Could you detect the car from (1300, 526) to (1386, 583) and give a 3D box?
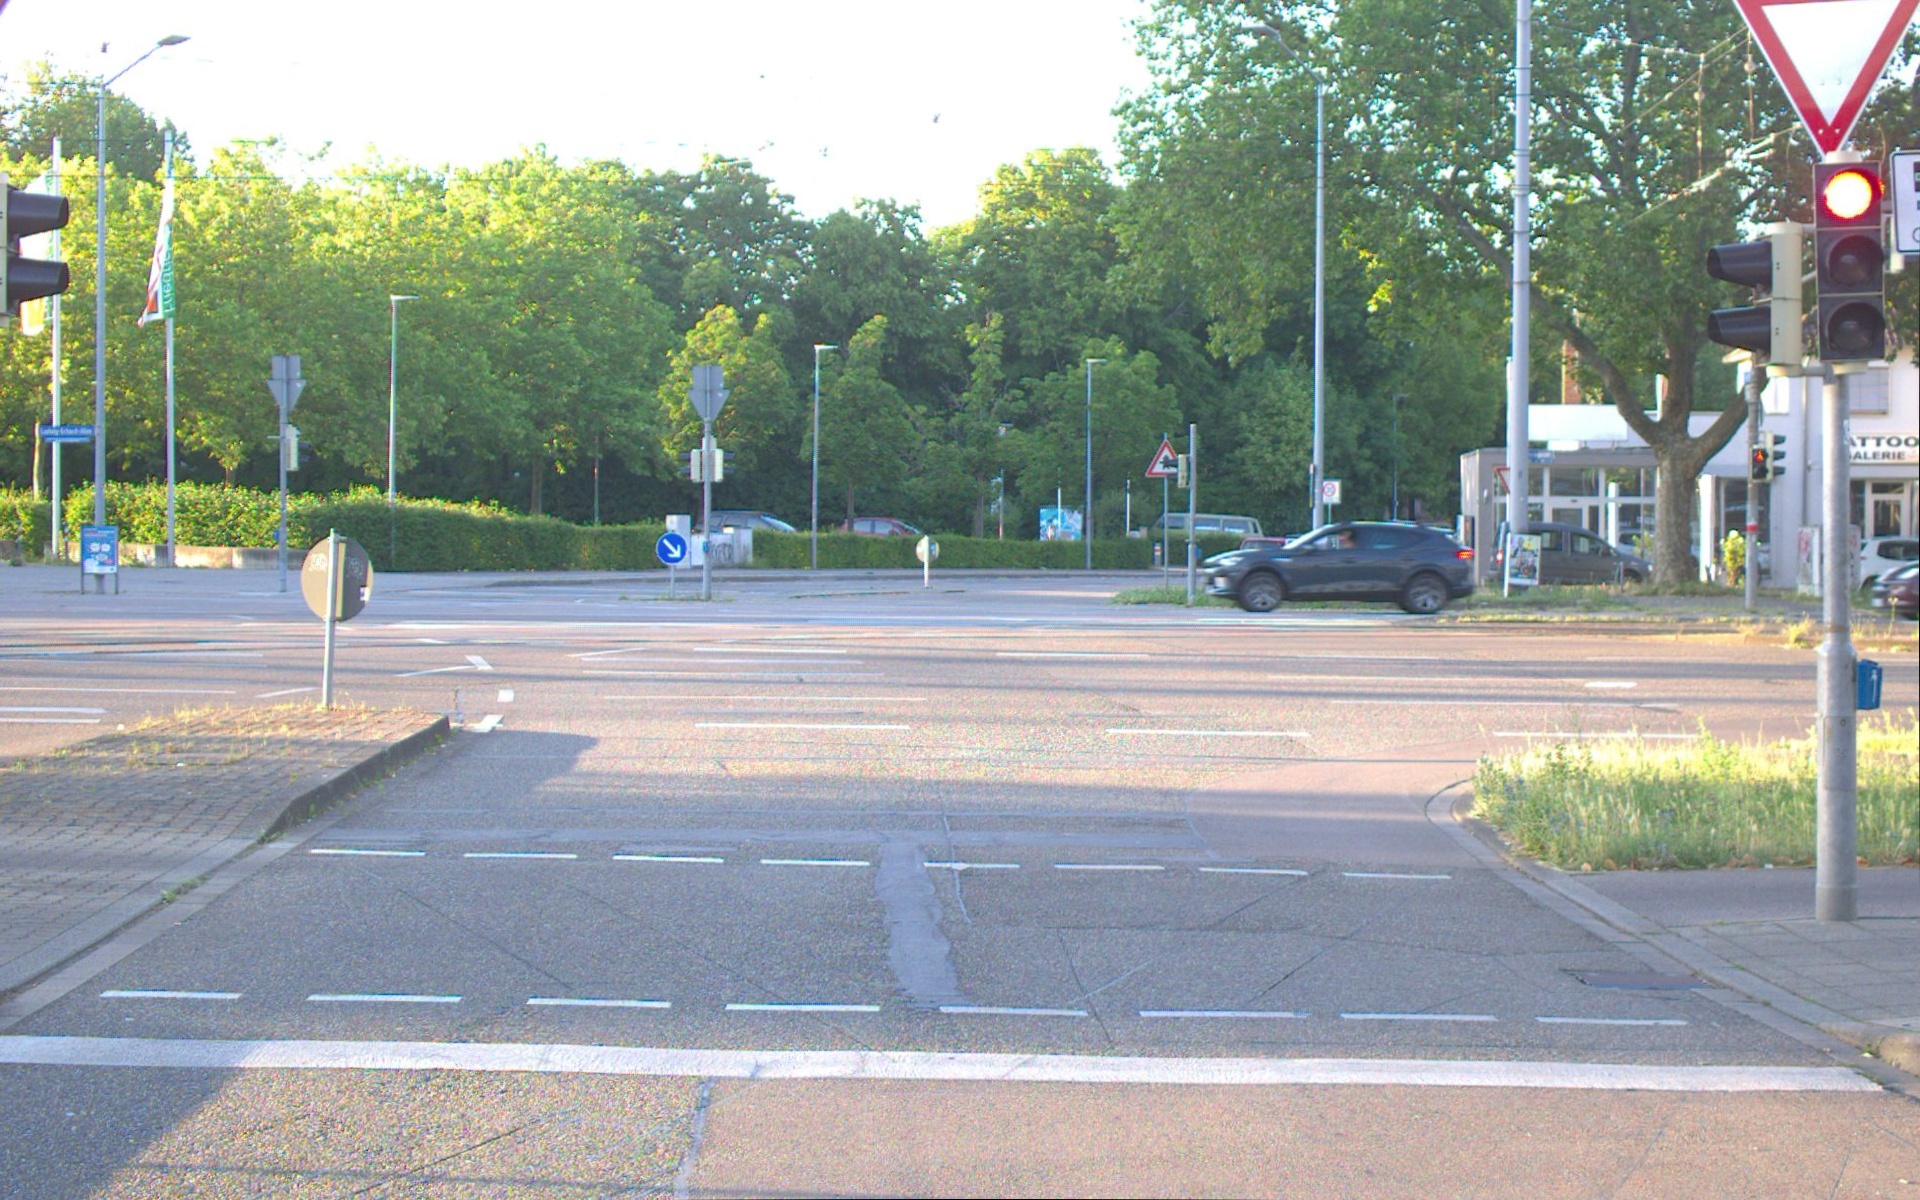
[{"bbox_3d":[11.542,-1.351,103.367,1.995,1.656,3.997,1,0,15],"label":"car"}]

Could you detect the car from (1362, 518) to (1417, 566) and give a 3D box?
[{"bbox_3d":[16.411,-2.206,131.183,1.864,1.788,3.998,1,0,10],"label":"car"}]

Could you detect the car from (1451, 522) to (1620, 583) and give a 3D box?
[{"bbox_3d":[14.899,-1.226,89.162,4.220,1.547,1.999,1,0,7],"label":"car"}]

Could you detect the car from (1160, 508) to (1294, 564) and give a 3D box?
[{"bbox_3d":[9.766,-2.335,125.868,4.774,1.999,2.000,0,0,2],"label":"car"}]

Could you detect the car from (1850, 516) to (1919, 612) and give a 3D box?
[{"bbox_3d":[16.428,-0.557,54.325,4.332,1.491,1.804,1,0,5],"label":"car"}]

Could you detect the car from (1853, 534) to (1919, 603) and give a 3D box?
[{"bbox_3d":[20.736,-0.647,72.110,3.741,1.435,1.663,1,0,9],"label":"car"}]

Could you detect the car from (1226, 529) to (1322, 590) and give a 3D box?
[{"bbox_3d":[8.762,-1.111,95.680,1.995,1.656,3.997,1,0,15],"label":"car"}]

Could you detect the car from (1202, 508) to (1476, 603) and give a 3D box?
[{"bbox_3d":[6.201,-0.726,56.543,4.331,1.491,1.804,0,0,1],"label":"car"}]
